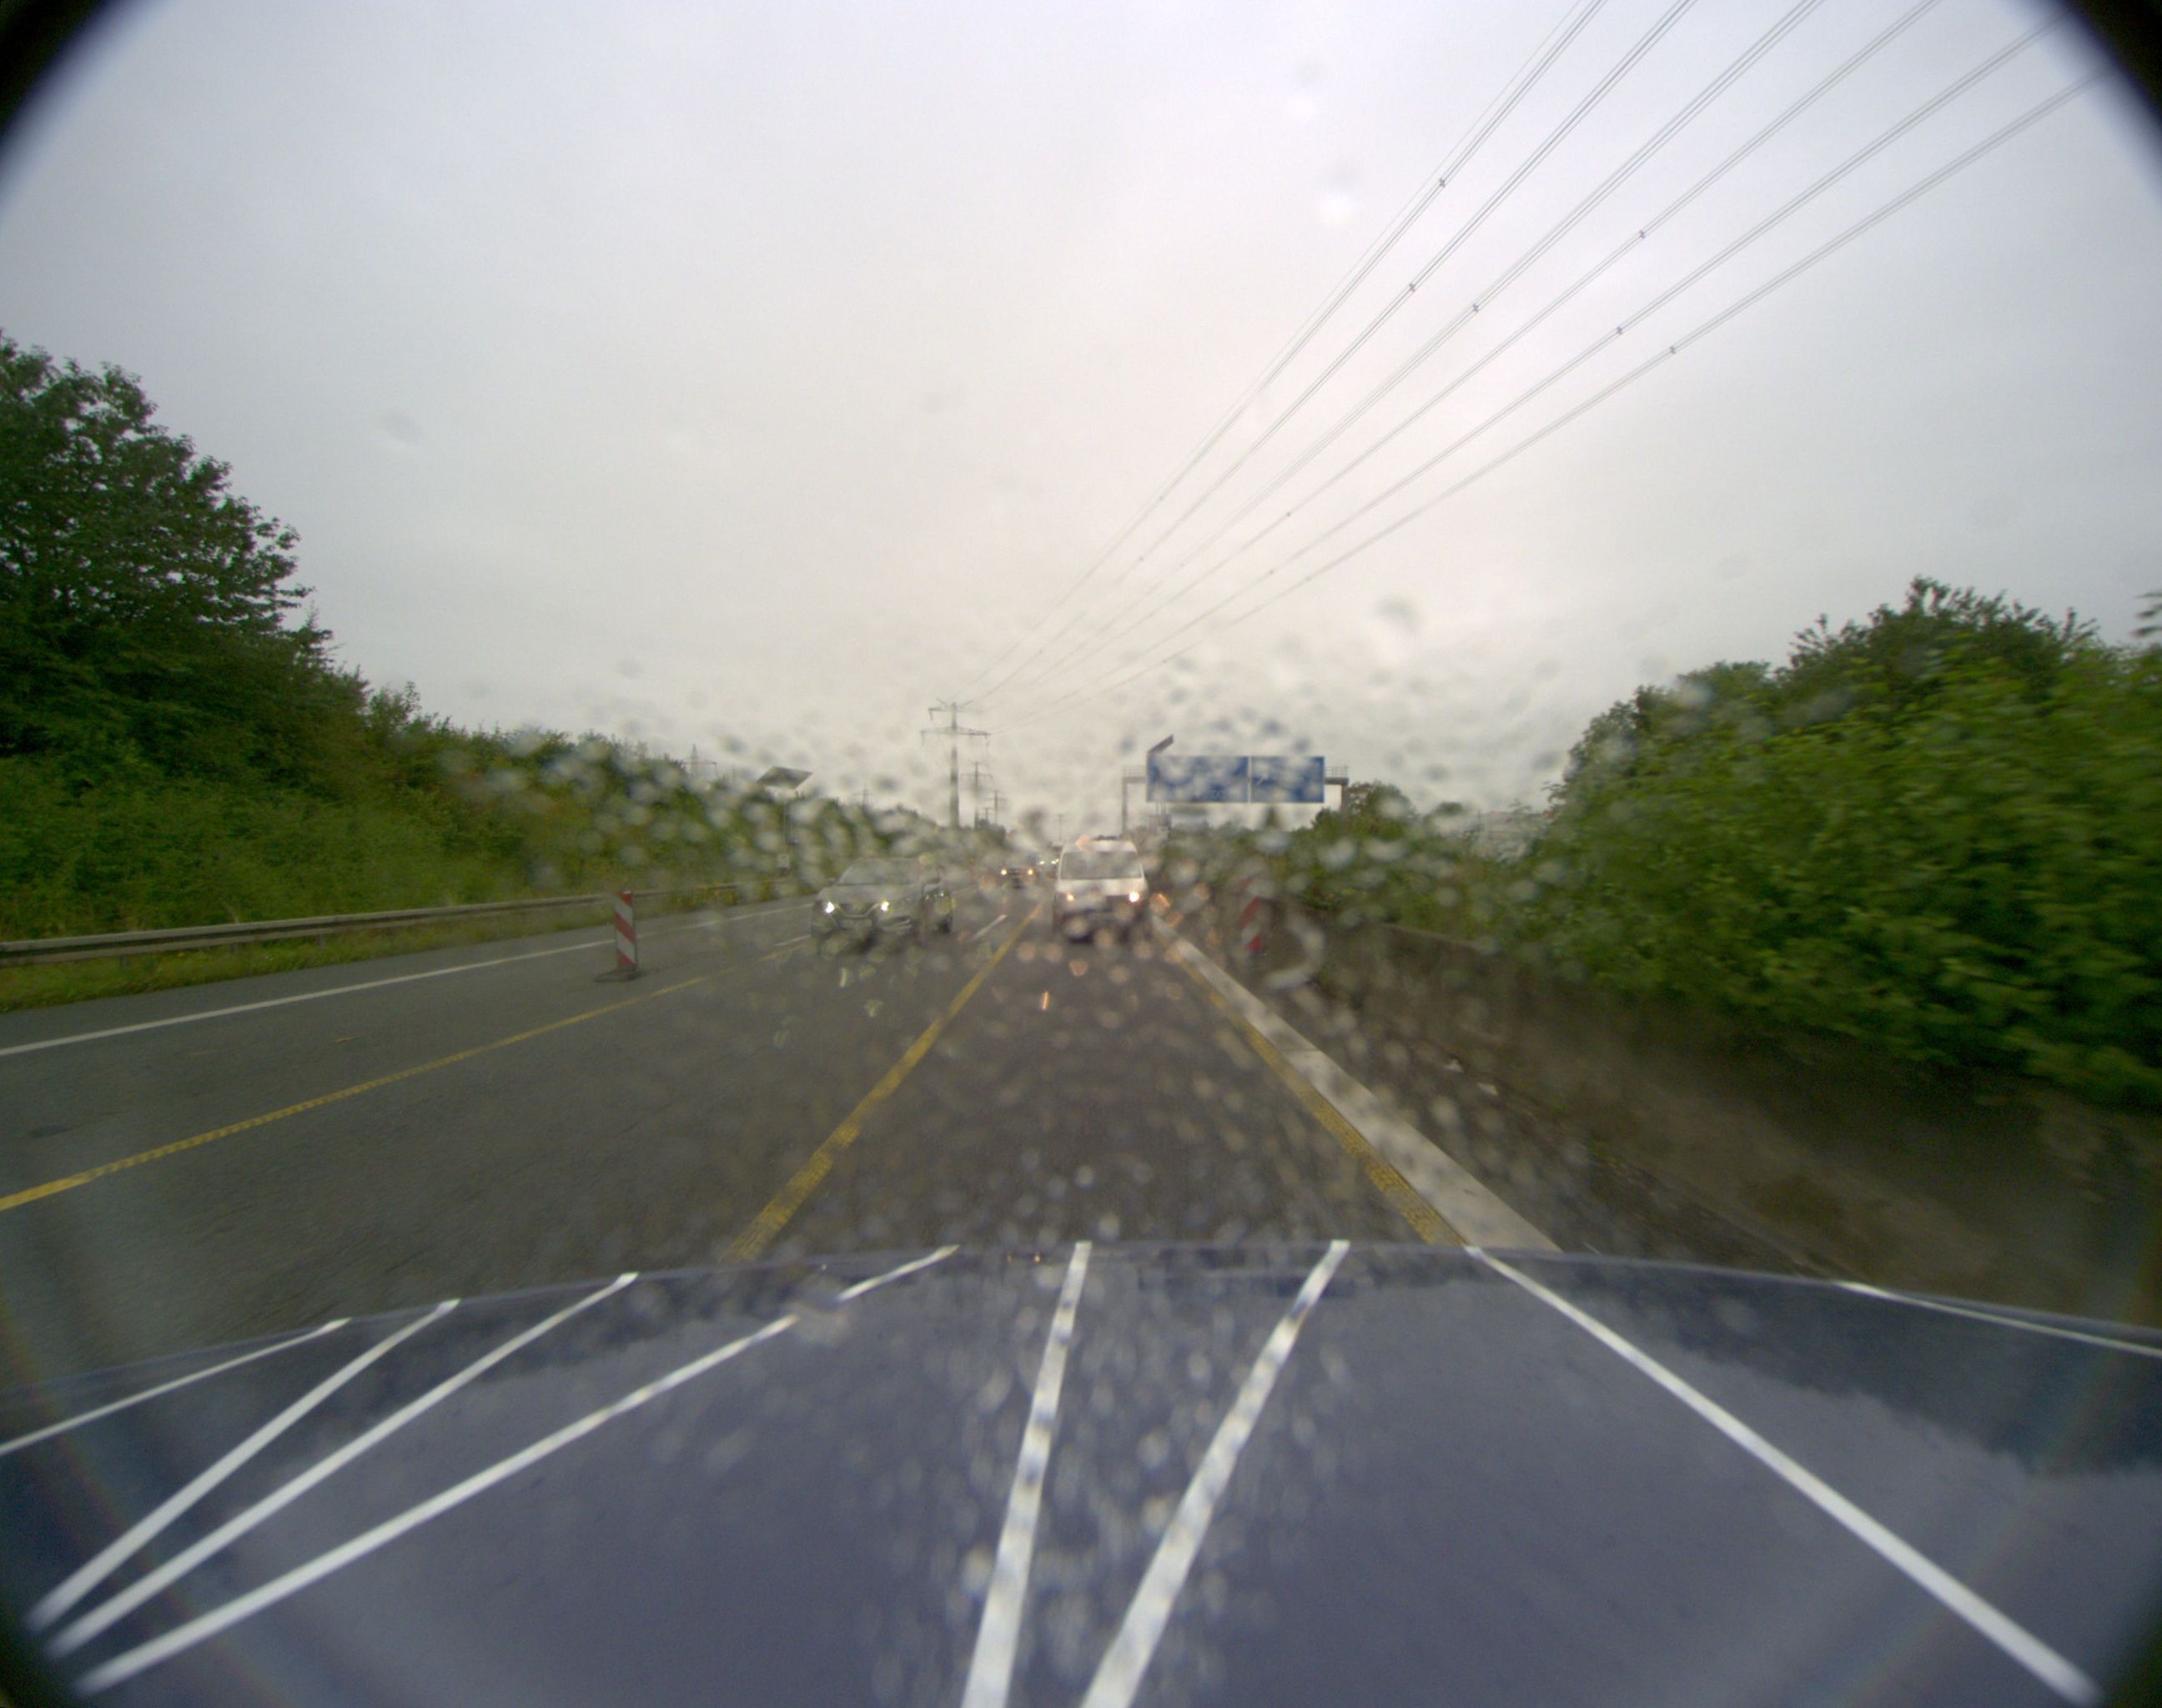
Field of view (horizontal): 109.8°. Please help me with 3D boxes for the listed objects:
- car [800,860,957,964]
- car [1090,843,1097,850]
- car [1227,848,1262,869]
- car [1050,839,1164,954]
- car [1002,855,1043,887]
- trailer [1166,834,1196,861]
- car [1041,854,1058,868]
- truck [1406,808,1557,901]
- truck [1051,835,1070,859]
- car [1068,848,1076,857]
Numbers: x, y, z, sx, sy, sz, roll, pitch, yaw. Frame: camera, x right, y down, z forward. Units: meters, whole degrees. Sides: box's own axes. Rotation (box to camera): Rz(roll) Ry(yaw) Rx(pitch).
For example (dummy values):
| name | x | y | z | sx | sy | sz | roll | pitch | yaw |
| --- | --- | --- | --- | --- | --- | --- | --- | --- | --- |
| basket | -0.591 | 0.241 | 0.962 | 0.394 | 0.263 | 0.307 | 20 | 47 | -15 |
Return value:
| name | x | y | z | sx | sy | sz | roll | pitch | yaw |
| --- | --- | --- | --- | --- | --- | --- | --- | --- | --- |
| car | -3.502 | 0.922 | 13.966 | 1.804 | 1.523 | 4.149 | -1 | 0 | -1 |
| car | 3.364 | -2.077 | 209.340 | 1.785 | 2.002 | 3.999 | -2 | 1 | 1 |
| car | 12.033 | 0.315 | 56.213 | 1.722 | 1.447 | 4.160 | -2 | 1 | 1 |
| car | 0.425 | 0.670 | 14.325 | 1.768 | 1.803 | 4.345 | -1 | 0 | 0 |
| car | -2.847 | 0.809 | 37.735 | 1.804 | 1.432 | 4.149 | -1 | 0 | -1 |
| trailer | 15.947 | -1.007 | 121.860 | 2.793 | 4.000 | 13.249 | 2 | 0 | 0 |
| car | -3.524 | 0.782 | 86.810 | 1.804 | 1.598 | 4.149 | -1 | 0 | -1 |
| truck | 15.729 | -0.010 | 30.507 | 2.266 | 3.209 | 7.051 | 2 | 1 | 1 |
| truck | -3.612 | -1.230 | 135.998 | 2.875 | 4.007 | 8.308 | -1 | 1 | 1 |
| car | -2.010 | -0.290 | 176.743 | 1.784 | 2.002 | 4.000 | -1 | 0 | 1 |
